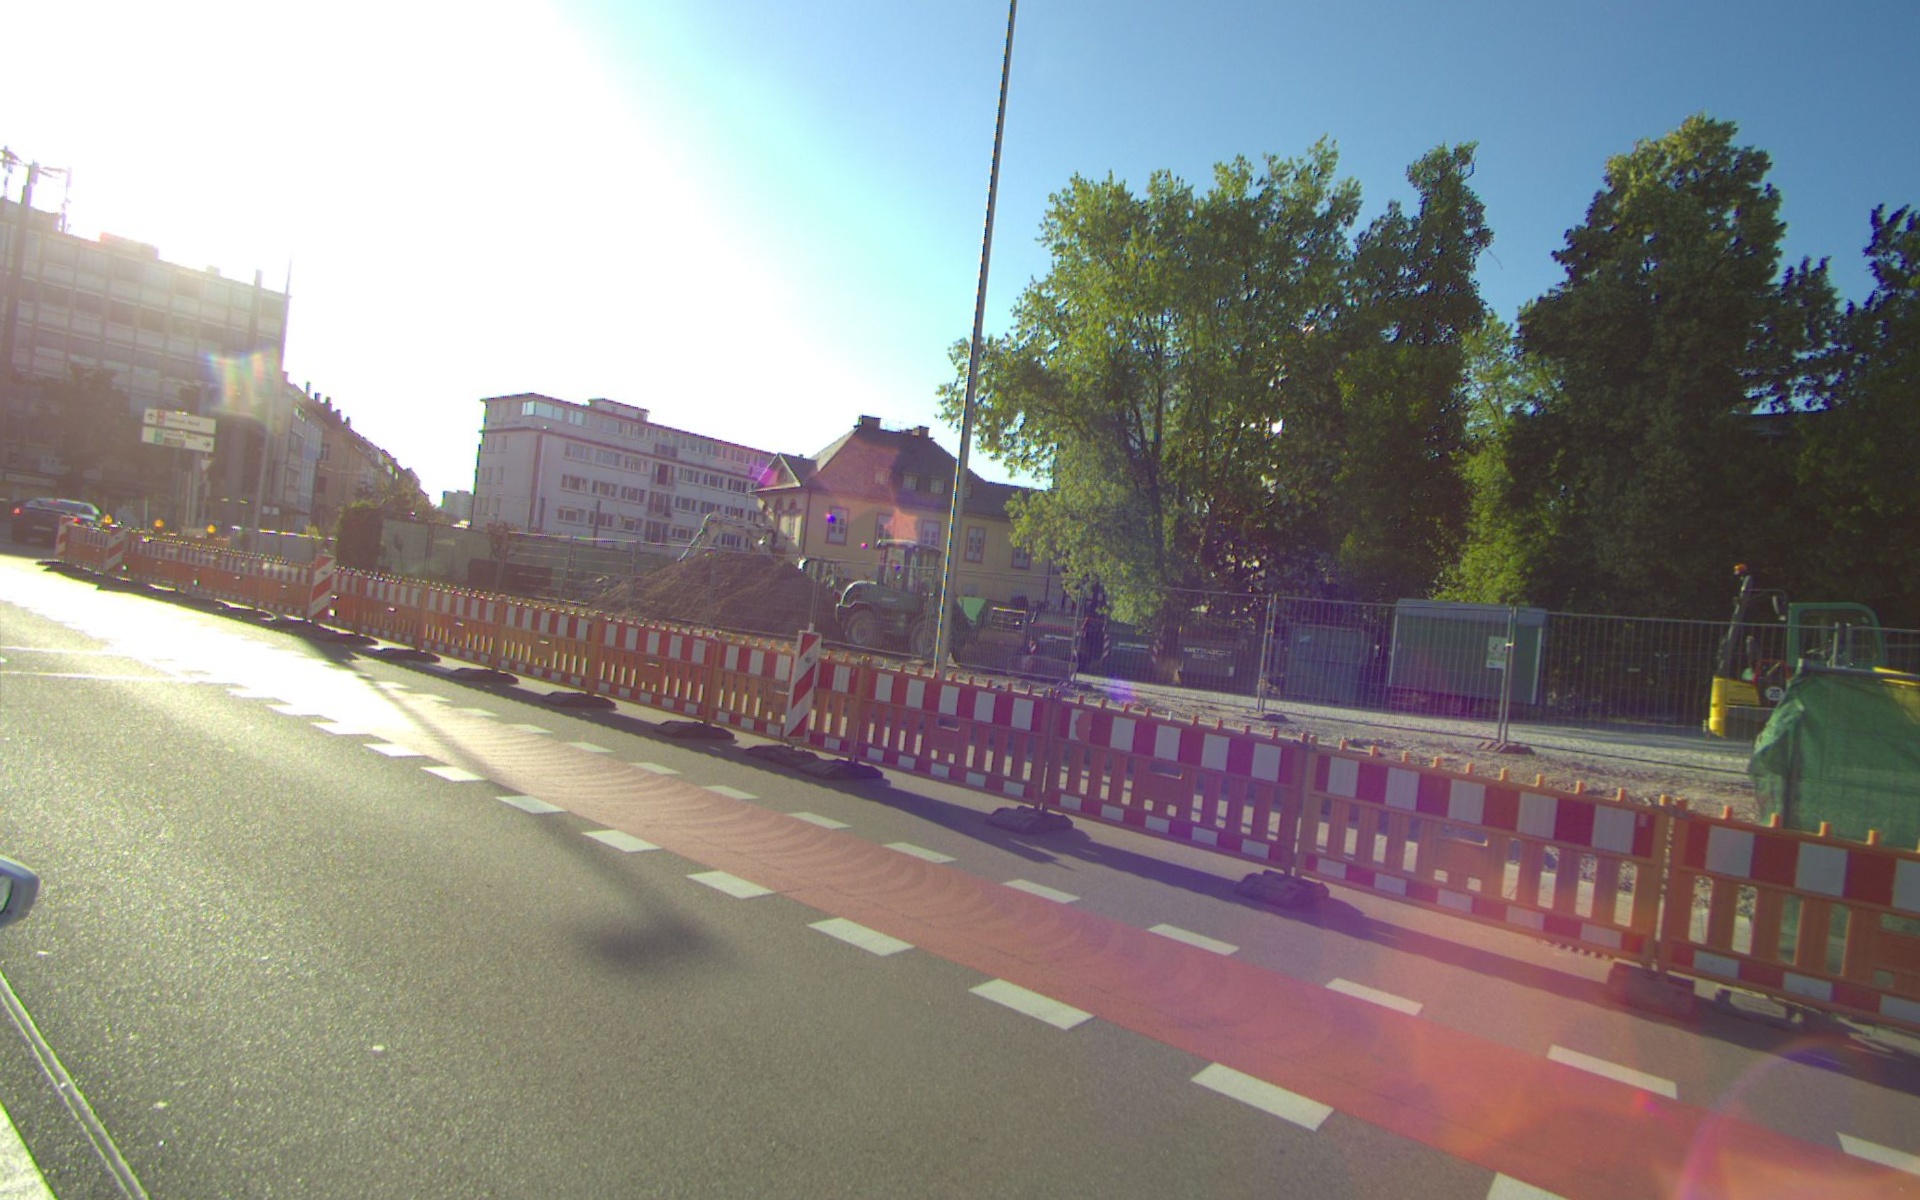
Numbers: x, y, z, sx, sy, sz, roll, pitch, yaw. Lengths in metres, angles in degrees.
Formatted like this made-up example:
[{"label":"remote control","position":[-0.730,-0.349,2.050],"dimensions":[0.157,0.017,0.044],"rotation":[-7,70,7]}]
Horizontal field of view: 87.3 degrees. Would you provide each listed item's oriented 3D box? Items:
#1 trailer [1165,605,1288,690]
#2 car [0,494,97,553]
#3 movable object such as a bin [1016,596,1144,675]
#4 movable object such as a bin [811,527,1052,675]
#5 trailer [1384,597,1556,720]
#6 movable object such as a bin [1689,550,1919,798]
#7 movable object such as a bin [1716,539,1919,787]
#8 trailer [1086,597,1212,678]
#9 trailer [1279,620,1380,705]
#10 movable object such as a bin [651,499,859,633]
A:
[{"label":"trailer","position":[8.268,1.498,30.816],"dimensions":[2.190,2.349,5.035],"rotation":[1,-3,32]},{"label":"car","position":[-32.831,-2.751,36.287],"dimensions":[1.982,1.713,3.963],"rotation":[9,-1,-34]},{"label":"movable object such as a bin","position":[4.037,1.210,32.984],"dimensions":[2.190,2.349,5.035],"rotation":[1,-3,32]},{"label":"movable object such as a bin","position":[-0.706,-0.015,22.844],"dimensions":[4.866,2.737,2.276],"rotation":[7,0,36]},{"label":"trailer","position":[14.023,1.563,27.643],"dimensions":[3.924,3.126,2.611],"rotation":[0,-3,33]},{"label":"movable object such as a bin","position":[12.309,1.017,13.239],"dimensions":[3.947,2.940,1.989],"rotation":[7,0,43]},{"label":"movable object such as a bin","position":[15.417,1.117,15.651],"dimensions":[5.421,3.601,2.273],"rotation":[7,0,41]},{"label":"trailer","position":[6.077,1.247,31.818],"dimensions":[2.190,2.349,5.035],"rotation":[1,-3,32]},{"label":"trailer","position":[11.022,1.860,29.905],"dimensions":[2.190,2.349,2.949],"rotation":[1,-3,33]},{"label":"movable object such as a bin","position":[-6.897,-1.076,33.955],"dimensions":[6.012,3.601,2.841],"rotation":[7,0,-29]}]
